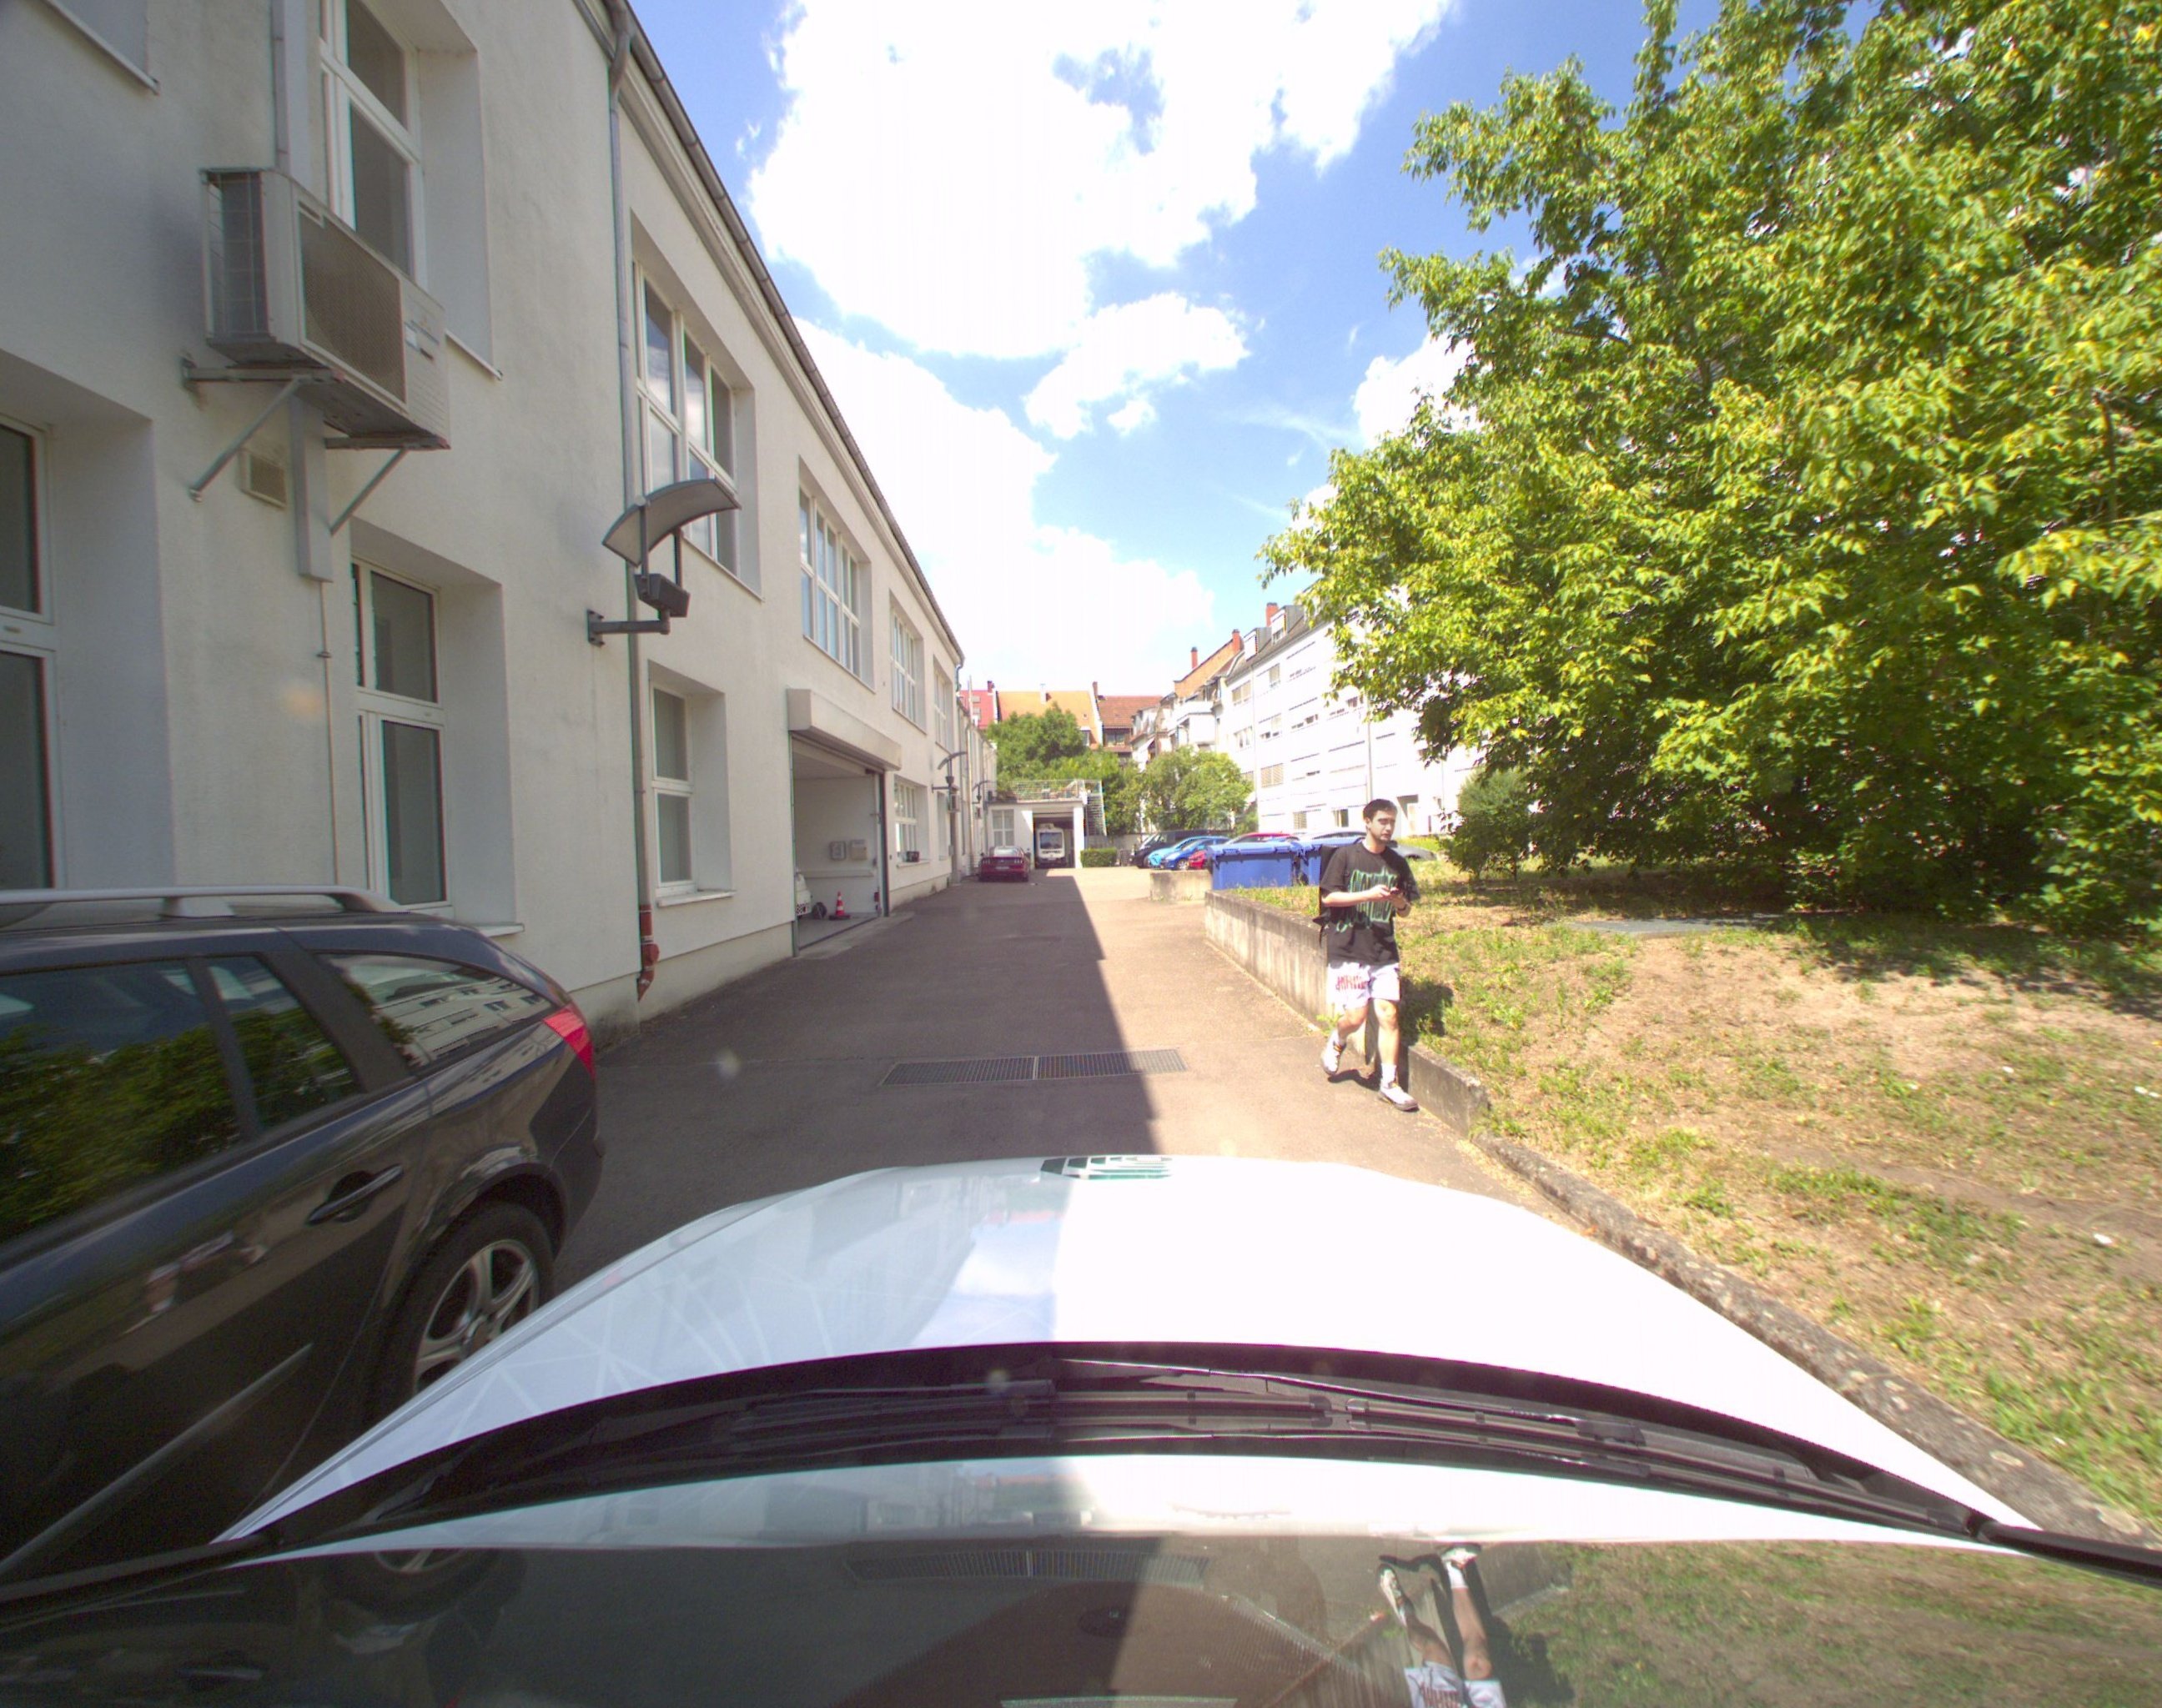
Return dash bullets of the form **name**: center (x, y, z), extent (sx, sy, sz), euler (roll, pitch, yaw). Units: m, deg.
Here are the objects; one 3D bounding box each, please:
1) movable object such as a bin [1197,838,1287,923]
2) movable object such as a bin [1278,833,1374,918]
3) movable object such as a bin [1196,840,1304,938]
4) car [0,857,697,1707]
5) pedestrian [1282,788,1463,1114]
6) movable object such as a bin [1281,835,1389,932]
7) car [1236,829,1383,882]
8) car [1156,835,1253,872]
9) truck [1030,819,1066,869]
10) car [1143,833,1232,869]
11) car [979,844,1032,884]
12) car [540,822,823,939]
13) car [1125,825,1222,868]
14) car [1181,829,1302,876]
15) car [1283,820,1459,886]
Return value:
- **movable object such as a bin**: center (2.716, 0.424, 13.893), extent (1.190, 1.326, 1.159), euler (-3, 1, -4)
- **movable object such as a bin**: center (4.161, 0.344, 13.939), extent (1.214, 1.326, 1.159), euler (-3, 1, -4)
- **movable object such as a bin**: center (2.480, 0.481, 12.126), extent (1.334, 1.326, 1.161), euler (-3, 1, 0)
- **car**: center (-2.321, 0.810, 0.829), extent (1.749, 1.429, 4.385), euler (-2, 1, -1)
- **pedestrian**: center (1.687, 0.525, 4.822), extent (0.755, 1.755, 0.751), euler (-2, 1, -1)
- **movable object such as a bin**: center (3.770, 0.408, 12.201), extent (1.212, 1.326, 1.161), euler (-3, 1, 0)
- **car**: center (6.973, 0.021, 25.083), extent (3.979, 1.390, 1.802), euler (-3, 1, -4)
- **car**: center (5.475, -0.033, 36.454), extent (3.979, 1.390, 1.802), euler (-3, 1, -4)
- **truck**: center (-2.108, -0.624, 51.189), extent (1.786, 2.937, 4.642), euler (-2, 1, -7)
- **car**: center (5.128, -0.161, 39.419), extent (3.979, 1.534, 1.802), euler (-3, 1, -4)
- **car**: center (-2.913, 0.331, 32.108), extent (1.794, 1.390, 3.997), euler (-2, 1, -2)
- **car**: center (-7.621, 0.459, 15.910), extent (4.467, 2.025, 1.980), euler (-1, 1, -2)
- **car**: center (4.779, -0.425, 42.443), extent (4.668, 1.958, 2.074), euler (-3, 1, -4)
- **car**: center (5.832, -0.071, 29.826), extent (3.979, 1.478, 1.802), euler (-3, 1, -4)
- **car**: center (7.605, -0.045, 21.594), extent (3.979, 1.478, 1.802), euler (-3, 1, -4)
